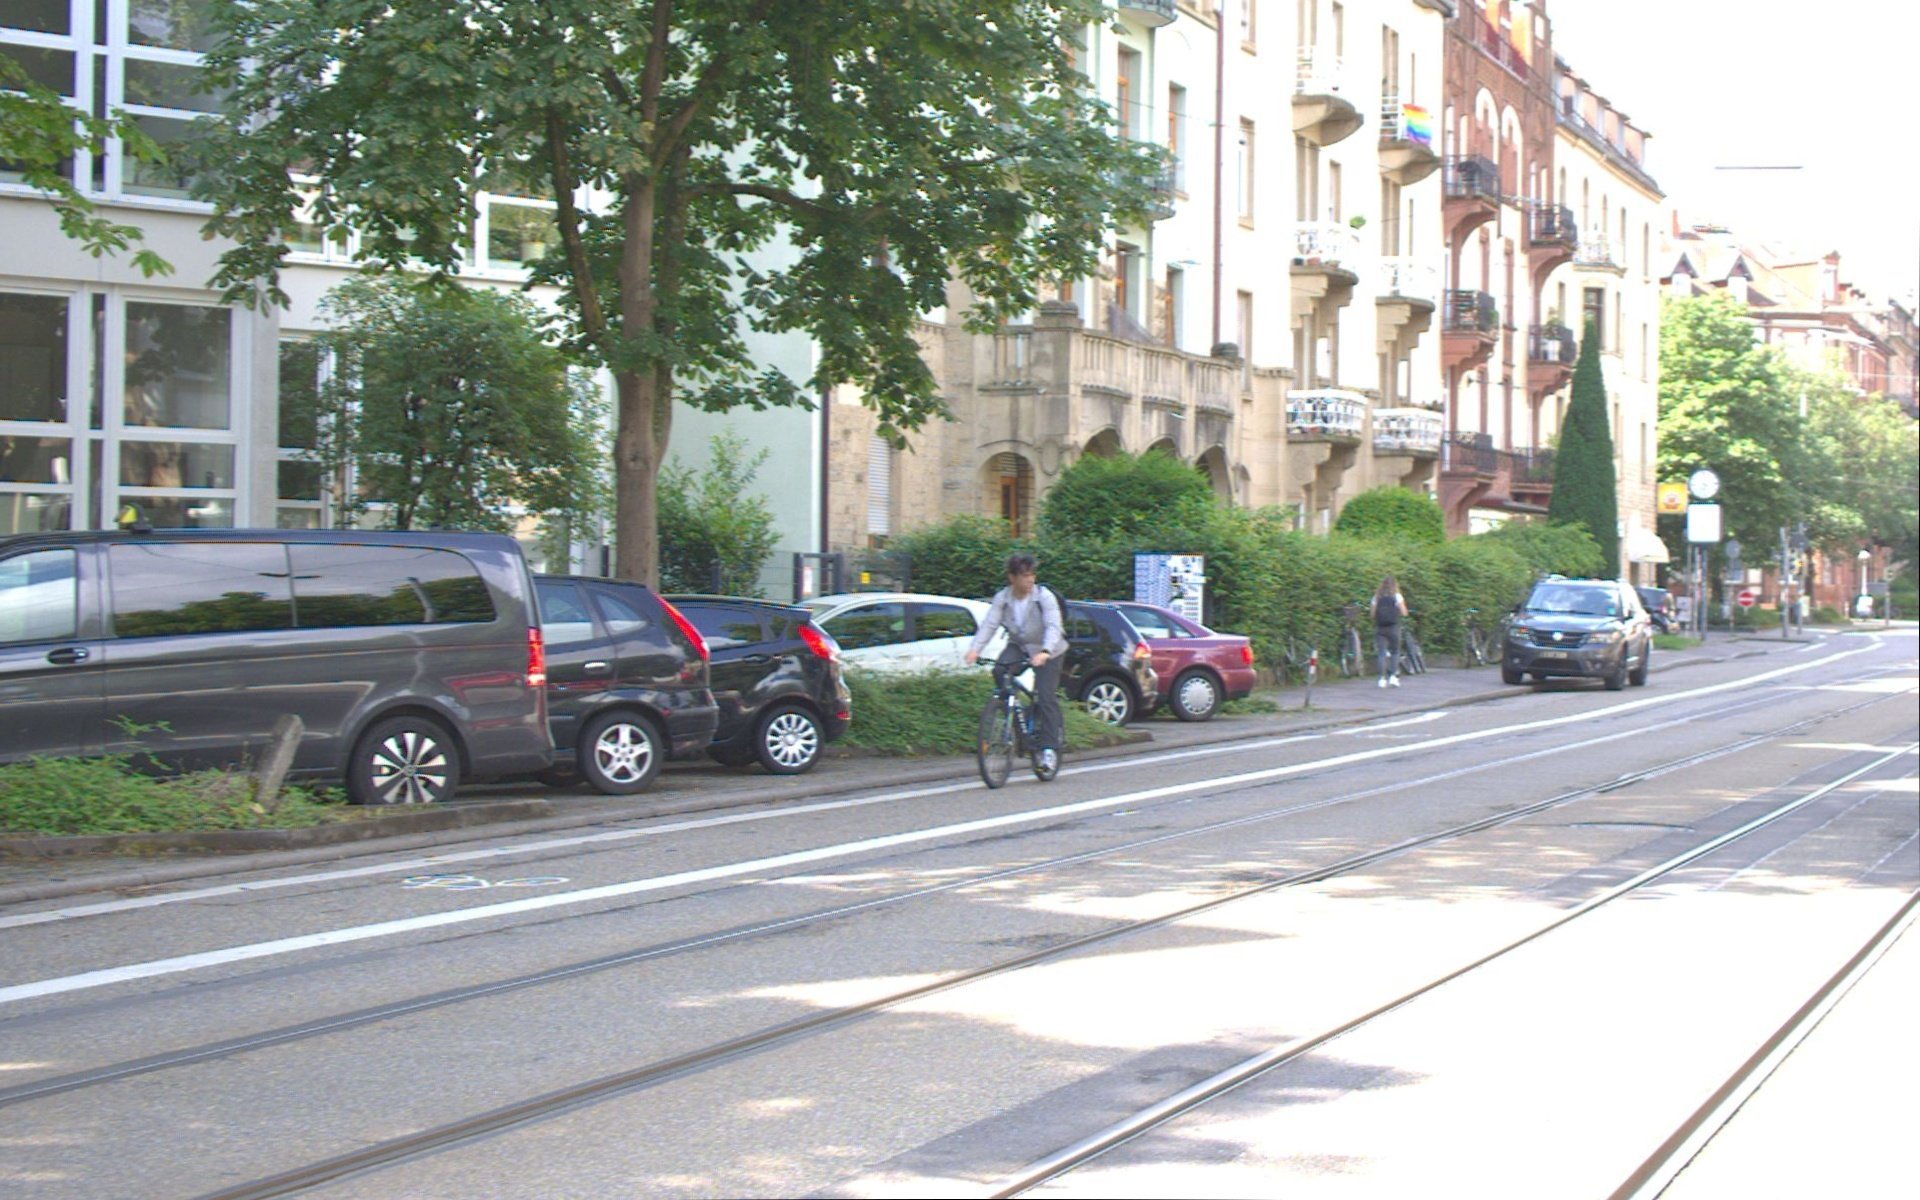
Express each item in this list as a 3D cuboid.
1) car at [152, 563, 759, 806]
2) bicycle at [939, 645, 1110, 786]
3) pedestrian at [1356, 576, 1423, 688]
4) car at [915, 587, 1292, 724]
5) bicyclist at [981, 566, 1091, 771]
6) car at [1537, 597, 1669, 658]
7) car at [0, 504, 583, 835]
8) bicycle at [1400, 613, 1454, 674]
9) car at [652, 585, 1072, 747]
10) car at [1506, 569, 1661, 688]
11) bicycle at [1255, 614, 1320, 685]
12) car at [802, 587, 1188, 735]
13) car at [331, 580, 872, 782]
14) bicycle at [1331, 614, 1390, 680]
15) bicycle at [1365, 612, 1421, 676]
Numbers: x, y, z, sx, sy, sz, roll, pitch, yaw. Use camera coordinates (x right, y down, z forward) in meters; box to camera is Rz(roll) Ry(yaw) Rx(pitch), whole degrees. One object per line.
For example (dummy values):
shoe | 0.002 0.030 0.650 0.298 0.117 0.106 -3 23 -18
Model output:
car | -3.644 0.575 24.836 3.986 1.587 1.741 -1 0 -24
bicycle | 0.523 0.873 26.716 0.656 1.037 1.998 0 0 22
pedestrian | 6.214 0.460 49.707 0.681 1.563 0.881 3 1 22
car | 1.673 0.632 40.170 3.956 1.479 1.847 -1 0 -23
bicyclist | 0.598 0.527 26.857 0.642 1.571 0.741 0 -1 20
car | 17.747 0.757 94.904 3.240 1.508 1.676 3 1 24
car | -5.160 0.416 21.717 5.150 1.947 1.917 -1 0 -26
bicycle | 7.634 0.701 56.113 0.383 0.956 1.919 3 1 22
car | -0.974 0.637 34.223 3.794 1.479 1.698 -1 0 -25
car | 9.884 0.414 54.212 1.786 1.756 4.879 1 0 18
bicycle | 4.632 0.693 48.495 0.383 0.956 1.808 3 1 22
car | 0.369 0.640 37.253 3.794 1.479 1.698 -1 0 -19
car | -2.896 0.625 27.734 3.986 1.479 1.741 -1 0 -22
bicycle | 6.087 0.701 52.179 0.383 0.956 1.808 3 1 22
bicycle | 6.824 0.684 54.135 0.383 0.956 1.808 3 1 22
